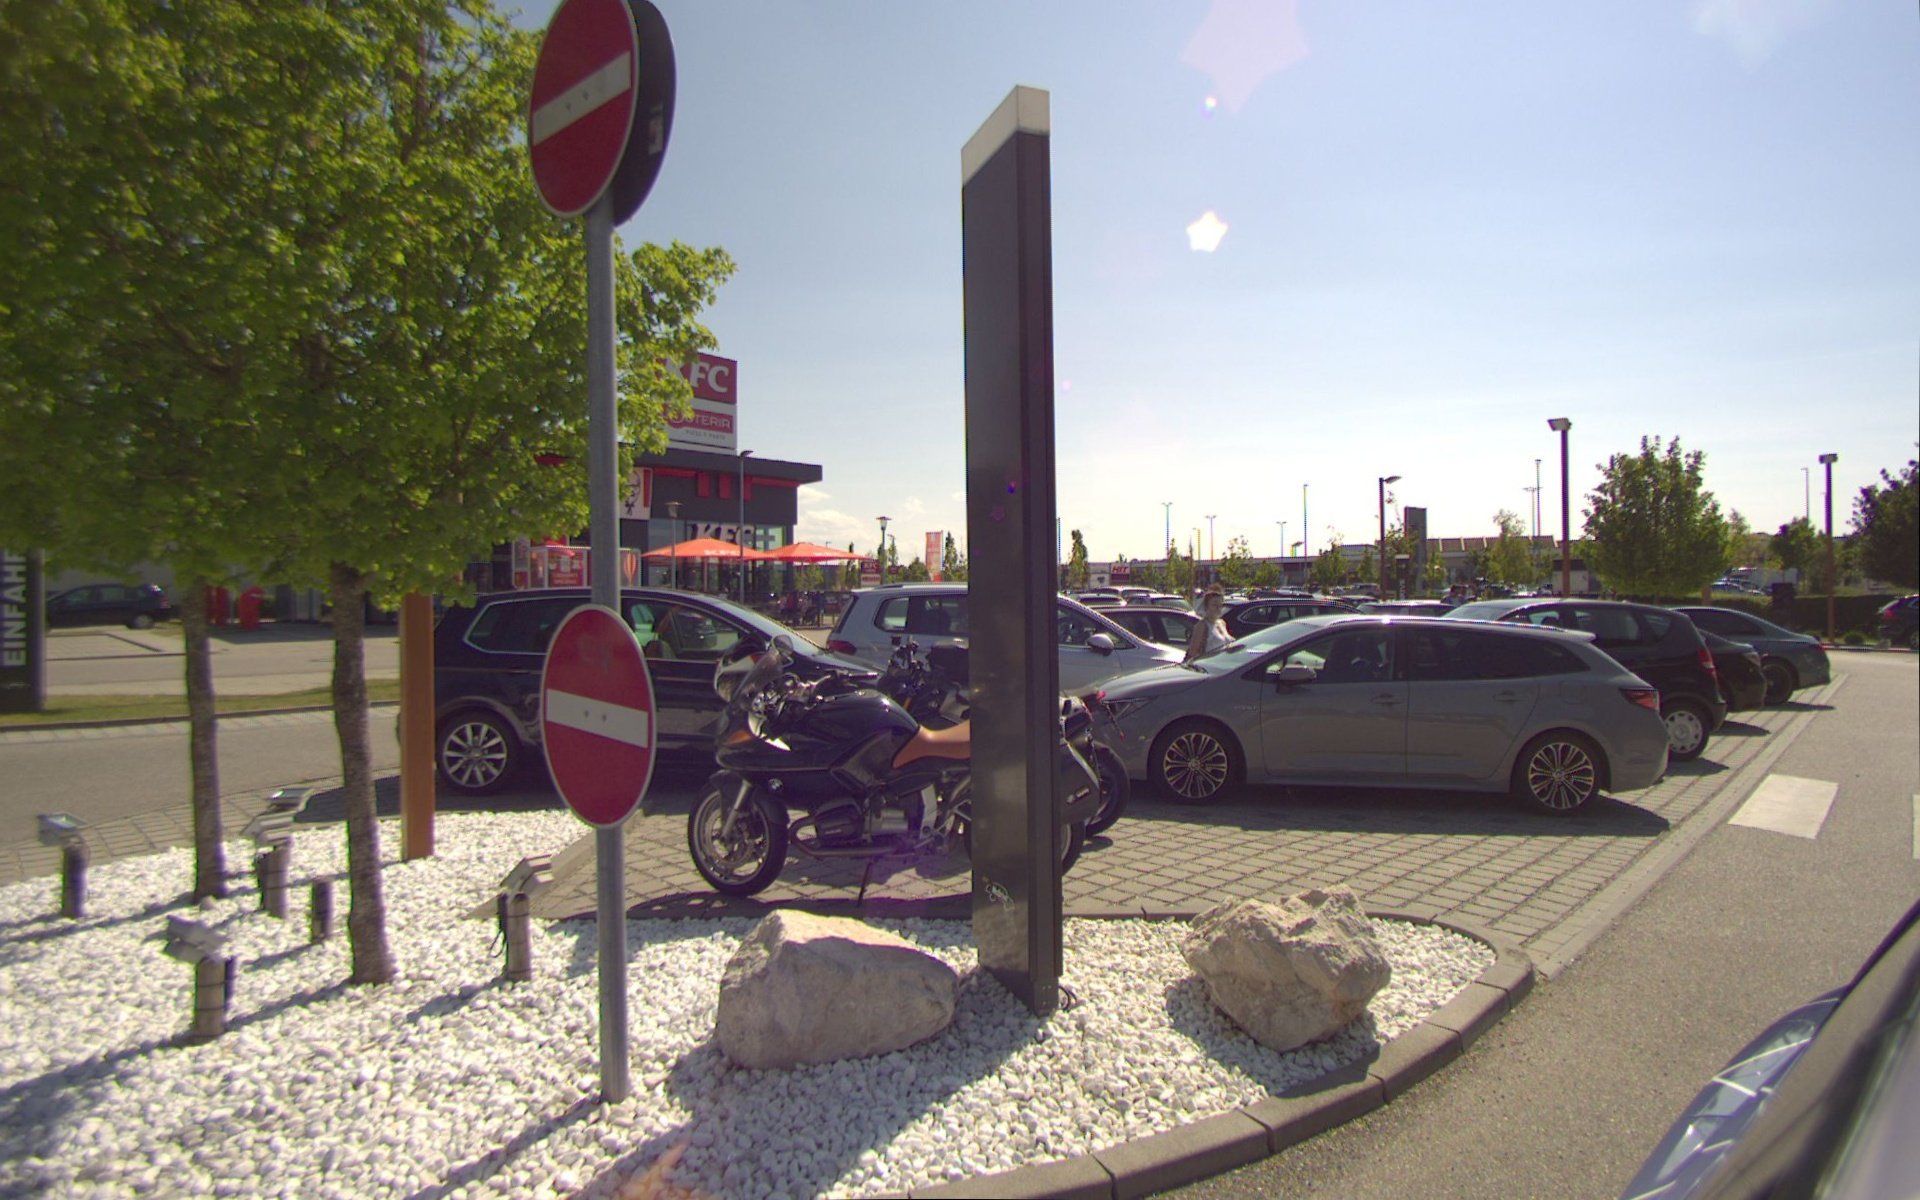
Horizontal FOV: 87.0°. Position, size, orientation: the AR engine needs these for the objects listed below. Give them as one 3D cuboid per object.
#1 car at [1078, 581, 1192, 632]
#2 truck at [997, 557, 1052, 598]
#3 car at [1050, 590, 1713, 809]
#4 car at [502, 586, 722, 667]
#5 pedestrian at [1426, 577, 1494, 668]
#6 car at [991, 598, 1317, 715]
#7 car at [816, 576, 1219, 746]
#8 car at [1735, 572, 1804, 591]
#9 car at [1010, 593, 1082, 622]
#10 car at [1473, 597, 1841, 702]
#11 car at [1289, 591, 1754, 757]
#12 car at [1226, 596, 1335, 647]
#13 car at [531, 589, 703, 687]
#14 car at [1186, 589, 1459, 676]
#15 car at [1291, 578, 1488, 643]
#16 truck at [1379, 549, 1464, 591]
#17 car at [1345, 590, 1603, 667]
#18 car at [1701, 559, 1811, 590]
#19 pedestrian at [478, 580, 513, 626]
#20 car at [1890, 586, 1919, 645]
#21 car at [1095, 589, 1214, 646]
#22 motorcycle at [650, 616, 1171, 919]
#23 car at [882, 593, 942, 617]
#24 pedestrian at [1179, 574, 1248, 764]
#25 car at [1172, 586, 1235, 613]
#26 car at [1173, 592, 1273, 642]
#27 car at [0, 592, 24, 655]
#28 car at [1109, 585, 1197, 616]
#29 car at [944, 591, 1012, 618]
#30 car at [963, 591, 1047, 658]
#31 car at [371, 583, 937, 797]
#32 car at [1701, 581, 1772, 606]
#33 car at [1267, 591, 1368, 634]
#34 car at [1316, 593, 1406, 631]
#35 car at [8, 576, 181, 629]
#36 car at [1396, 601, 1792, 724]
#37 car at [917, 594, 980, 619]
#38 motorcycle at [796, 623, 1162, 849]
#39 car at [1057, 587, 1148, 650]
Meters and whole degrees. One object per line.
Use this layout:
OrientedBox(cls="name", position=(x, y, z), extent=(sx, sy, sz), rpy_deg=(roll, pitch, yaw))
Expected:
OrientedBox(cls="car", position=(6.504, 0.209, 37.330), extent=(4.296, 1.772, 2.067), rpy_deg=(-1, 1, -45))
OrientedBox(cls="truck", position=(6.411, -2.215, 102.234), extent=(3.143, 3.915, 9.148), rpy_deg=(0, 1, -12))
OrientedBox(cls="car", position=(3.111, 0.707, 8.238), extent=(4.576, 1.465, 1.835), rpy_deg=(1, 0, 2))
OrientedBox(cls="car", position=(-7.191, 0.525, 21.167), extent=(4.010, 1.596, 1.757), rpy_deg=(0, 0, 1))
OrientedBox(cls="pedestrian", position=(11.052, 0.478, 22.380), extent=(0.885, 1.940, 1.029), rpy_deg=(0, 0, -33))
OrientedBox(cls="car", position=(2.471, 0.713, 13.635), extent=(4.004, 1.426, 1.794), rpy_deg=(0, 0, -1))
OrientedBox(cls="car", position=(0.557, 0.594, 10.895), extent=(3.989, 1.660, 1.748), rpy_deg=(0, 0, 0))
OrientedBox(cls="car", position=(60.664, -1.357, 75.849), extent=(3.896, 1.359, 1.639), rpy_deg=(0, 1, 44))
OrientedBox(cls="car", position=(4.638, 0.360, 54.346), extent=(3.687, 1.472, 1.686), rpy_deg=(-1, 0, -38))
OrientedBox(cls="car", position=(10.838, 0.740, 15.988), extent=(4.457, 1.530, 1.887), rpy_deg=(0, 0, 1))
OrientedBox(cls="car", position=(5.774, 0.720, 10.809), extent=(3.926, 1.613, 1.811), rpy_deg=(0, 0, 2))
OrientedBox(cls="car", position=(10.742, 0.663, 34.237), extent=(1.769, 1.576, 4.062), rpy_deg=(0, 1, -11))
OrientedBox(cls="car", position=(-5.630, 0.534, 17.136), extent=(1.807, 1.443, 4.190), rpy_deg=(0, 1, -5))
OrientedBox(cls="car", position=(6.615, 0.563, 18.848), extent=(4.334, 1.530, 1.983), rpy_deg=(0, 0, 1))
OrientedBox(cls="car", position=(9.931, 0.220, 23.613), extent=(3.831, 1.444, 1.706), rpy_deg=(0, 0, 2))
OrientedBox(cls="truck", position=(38.399, -2.467, 84.501), extent=(2.372, 3.393, 7.581), rpy_deg=(-1, 1, -12))
OrientedBox(cls="car", position=(10.585, 0.556, 21.094), extent=(4.334, 1.530, 1.983), rpy_deg=(0, 0, 1))
OrientedBox(cls="car", position=(61.870, -1.920, 78.741), extent=(6.551, 2.272, 2.264), rpy_deg=(0, 1, 44))
OrientedBox(cls="pedestrian", position=(-15.197, 0.088, 33.135), extent=(0.769, 1.453, 0.788), rpy_deg=(0, 1, 42))
OrientedBox(cls="car", position=(28.876, 0.420, 27.671), extent=(5.047, 1.650, 1.895), rpy_deg=(0, 1, 43))
OrientedBox(cls="car", position=(5.533, 0.442, 29.392), extent=(1.742, 1.530, 4.361), rpy_deg=(0, 1, -14))
OrientedBox(cls="motorcycle", position=(-0.229, 0.737, 4.882), extent=(2.207, 1.267, 1.071), rpy_deg=(1, -1, -4))
OrientedBox(cls="car", position=(-3.176, 0.315, 67.279), extent=(3.687, 1.530, 1.686), rpy_deg=(-1, 0, -38))
OrientedBox(cls="pedestrian", position=(2.393, 0.627, 9.603), extent=(0.554, 1.734, 0.609), rpy_deg=(0, 0, 7))
OrientedBox(cls="car", position=(19.117, -0.091, 79.724), extent=(1.960, 2.039, 5.028), rpy_deg=(-1, 1, -28))
OrientedBox(cls="car", position=(8.075, 0.472, 31.477), extent=(1.679, 1.428, 4.685), rpy_deg=(0, 1, -3))
OrientedBox(cls="car", position=(-24.160, 0.564, 22.867), extent=(1.685, 1.459, 4.166), rpy_deg=(0, 1, 32))
OrientedBox(cls="car", position=(9.141, 0.011, 47.855), extent=(4.079, 1.416, 1.887), rpy_deg=(-1, 1, -38))
OrientedBox(cls="car", position=(1.063, 0.231, 58.768), extent=(3.687, 1.472, 1.686), rpy_deg=(-1, 0, -38))
OrientedBox(cls="car", position=(0.979, 0.504, 23.712), extent=(1.786, 1.420, 3.999), rpy_deg=(0, 1, 1))
OrientedBox(cls="car", position=(-2.252, 0.651, 8.341), extent=(4.110, 1.556, 1.896), rpy_deg=(0, 0, -1))
OrientedBox(cls="car", position=(56.133, -0.445, 73.158), extent=(3.982, 1.749, 1.867), rpy_deg=(0, 0, 41))
OrientedBox(cls="car", position=(12.873, 0.414, 36.723), extent=(1.761, 1.440, 4.092), rpy_deg=(0, 1, -8))
OrientedBox(cls="car", position=(15.702, 0.432, 39.839), extent=(1.876, 1.440, 3.777), rpy_deg=(0, 0, -2))
OrientedBox(cls="car", position=(-29.603, 0.053, 34.726), extent=(1.634, 1.706, 4.320), rpy_deg=(0, 1, 40))
OrientedBox(cls="car", position=(8.135, 0.768, 13.285), extent=(3.999, 1.467, 1.828), rpy_deg=(0, 0, 1))
OrientedBox(cls="car", position=(-0.690, 0.361, 62.534), extent=(3.687, 1.472, 1.686), rpy_deg=(-1, 0, -38))
OrientedBox(cls="motorcycle", position=(0.078, 0.781, 6.188), extent=(2.097, 1.247, 0.822), rpy_deg=(1, -1, -7))
OrientedBox(cls="car", position=(3.590, 0.420, 26.183), extent=(1.786, 1.508, 4.000), rpy_deg=(0, 1, 0))
